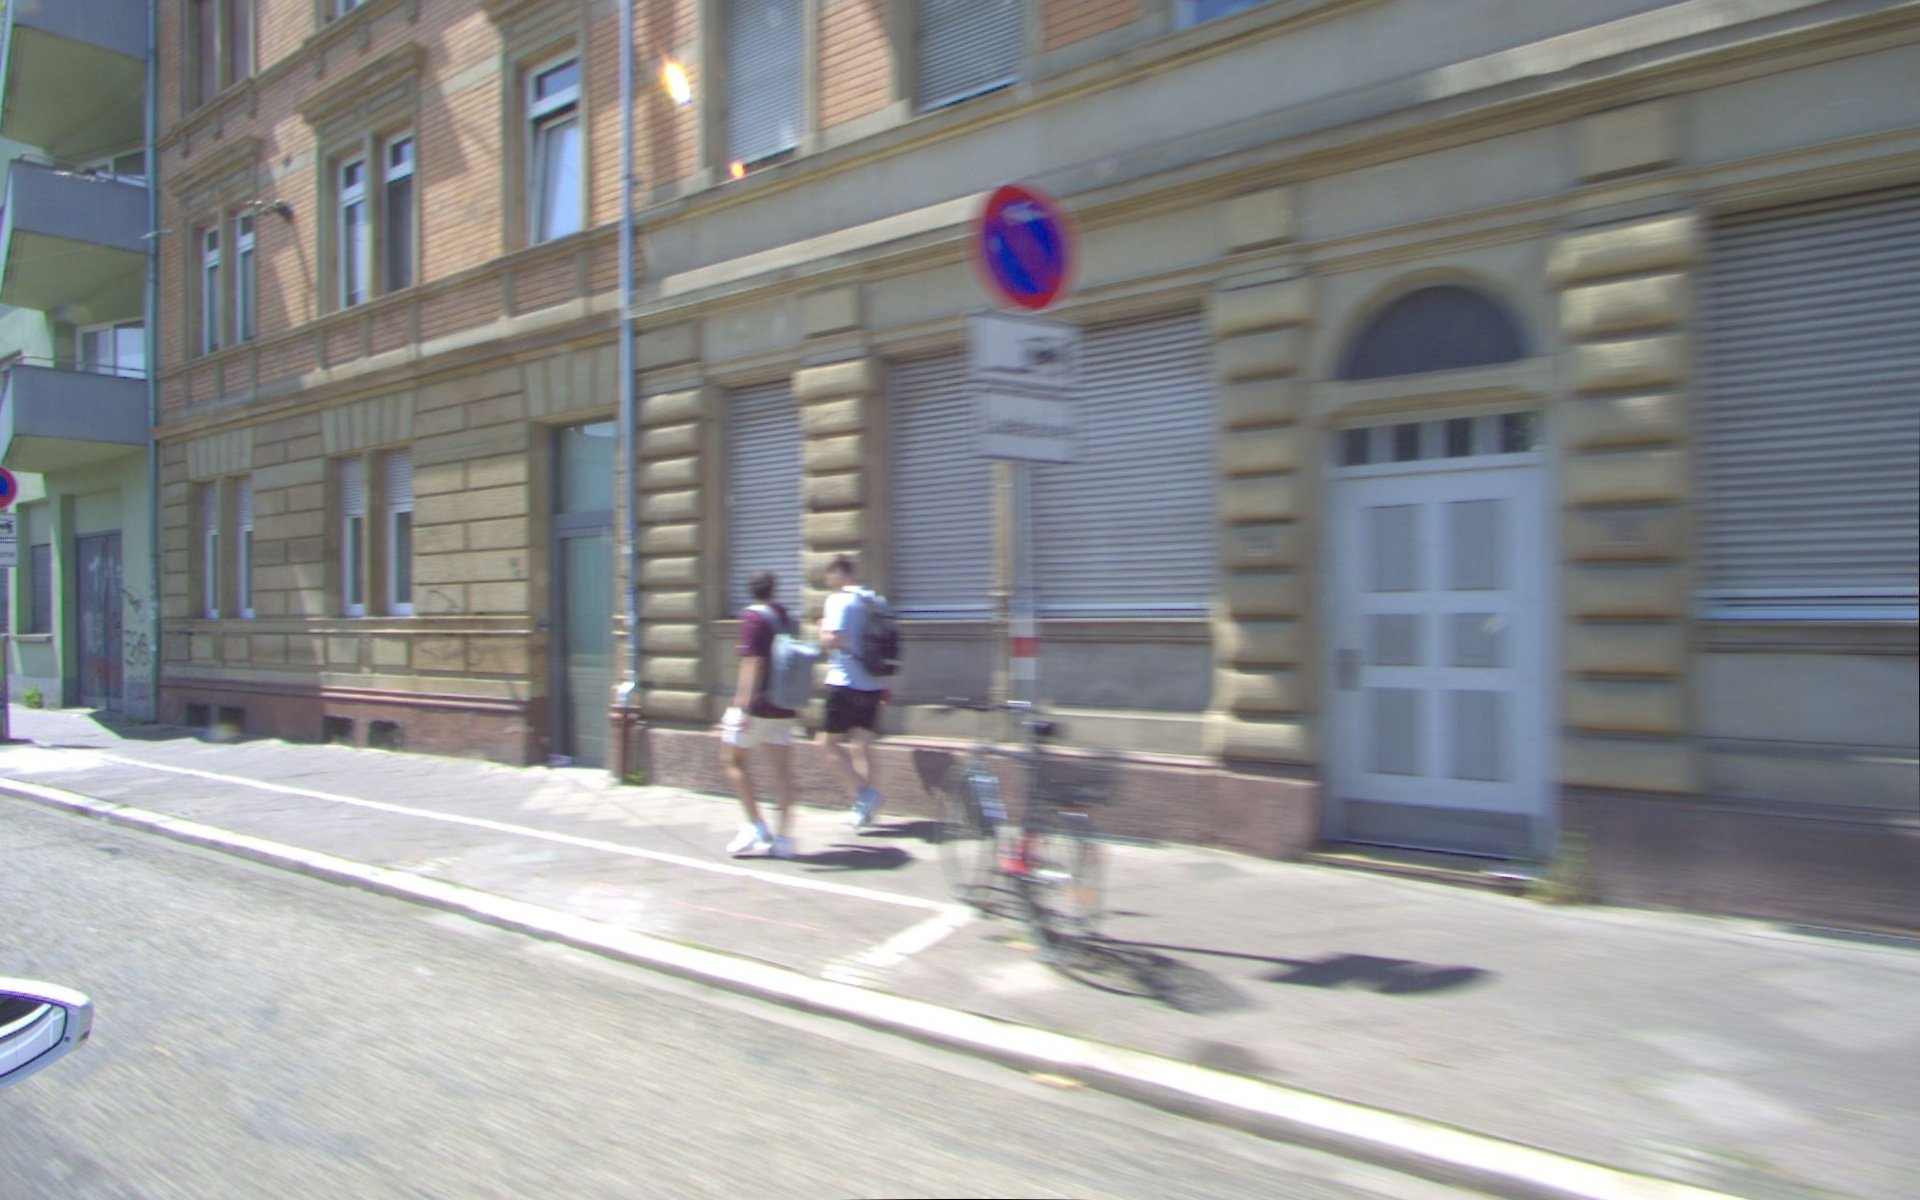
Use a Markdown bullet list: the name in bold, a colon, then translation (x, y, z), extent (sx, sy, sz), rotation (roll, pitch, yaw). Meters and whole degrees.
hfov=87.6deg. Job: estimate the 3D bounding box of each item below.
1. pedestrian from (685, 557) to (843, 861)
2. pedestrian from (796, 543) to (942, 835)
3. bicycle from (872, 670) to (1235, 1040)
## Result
- **pedestrian**: translation (-1.205, 0.628, 6.209), extent (0.635, 1.742, 0.718), rotation (0, 0, 34)
- **pedestrian**: translation (-0.615, 0.564, 6.886), extent (0.635, 1.875, 0.700), rotation (0, 4, 34)
- **bicycle**: translation (0.271, 0.957, 4.559), extent (0.493, 1.145, 2.232), rotation (-1, 0, -28)
